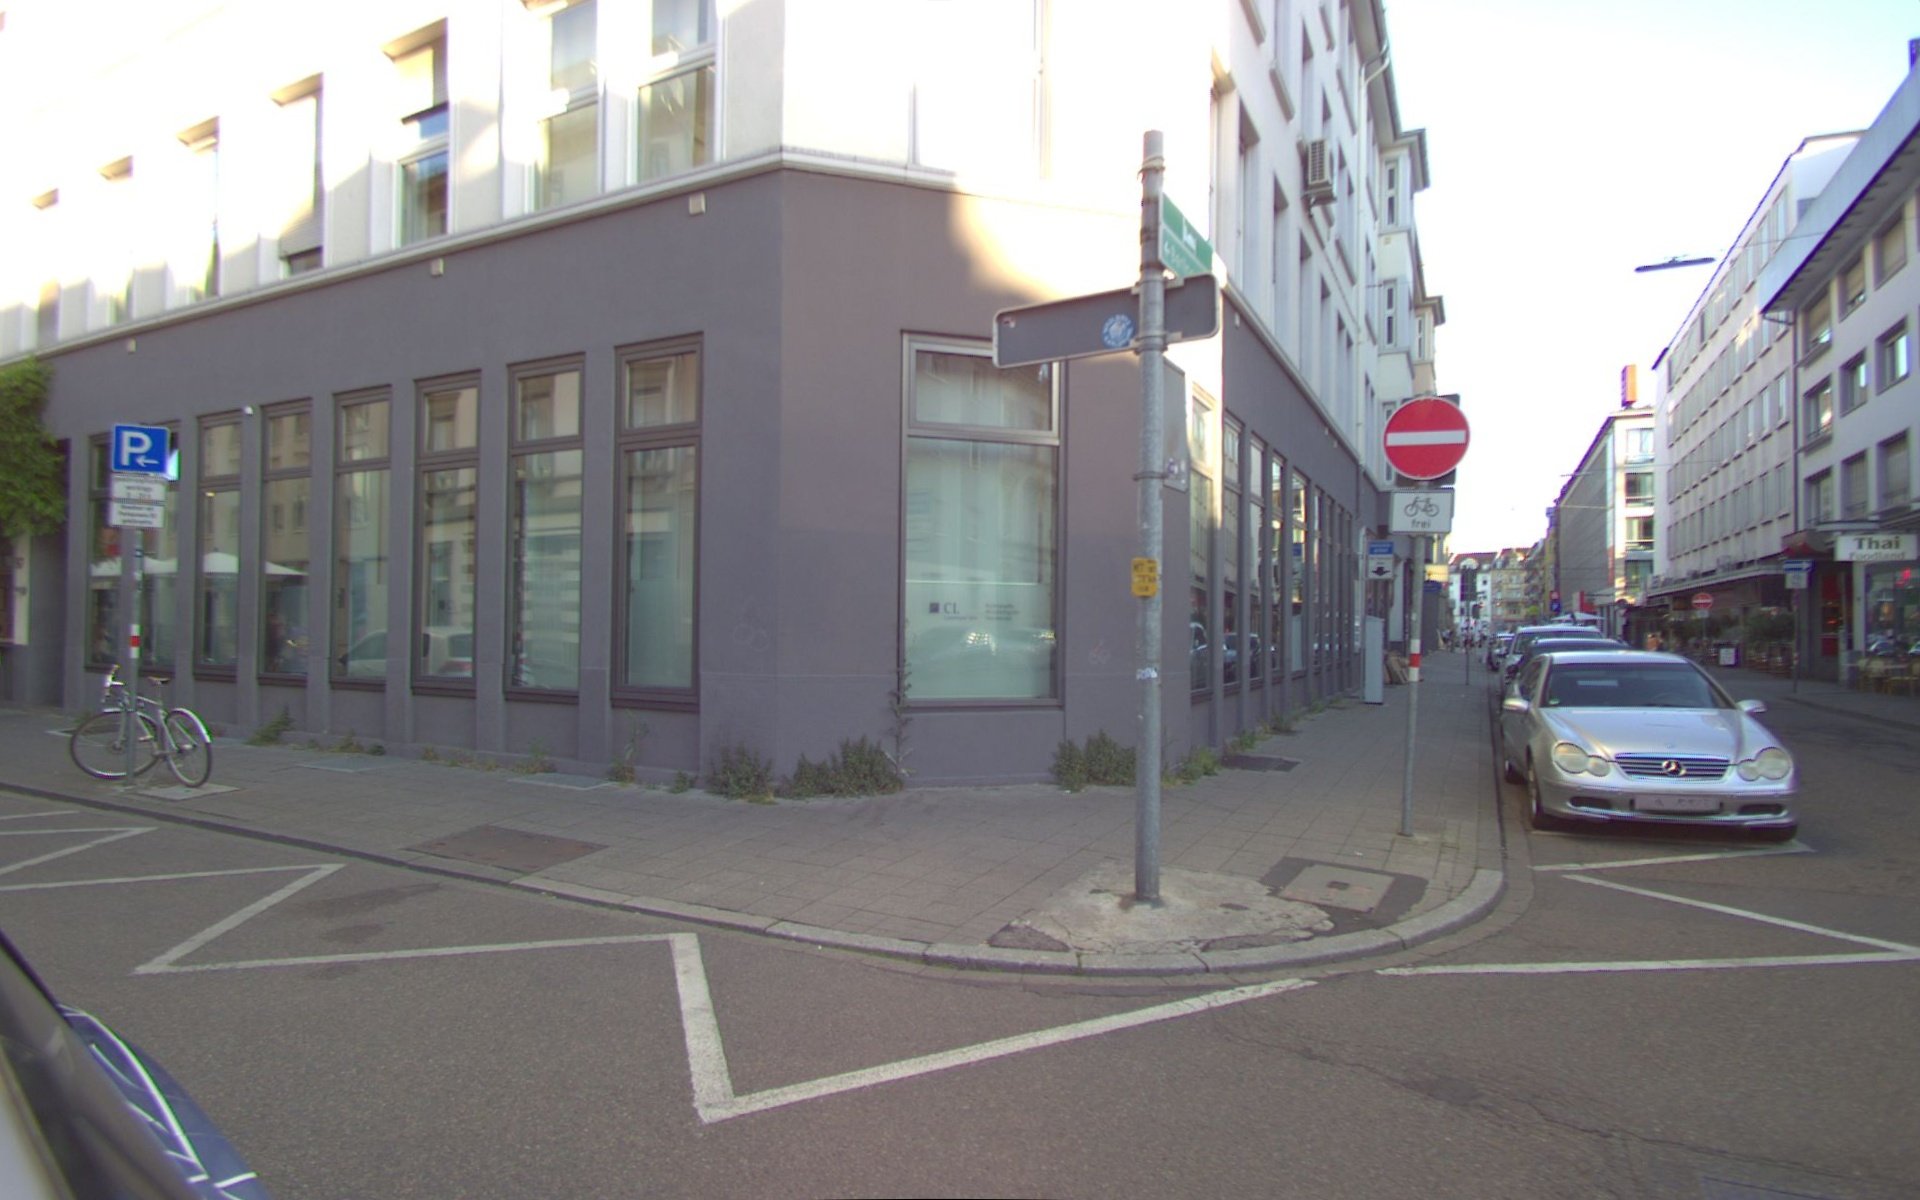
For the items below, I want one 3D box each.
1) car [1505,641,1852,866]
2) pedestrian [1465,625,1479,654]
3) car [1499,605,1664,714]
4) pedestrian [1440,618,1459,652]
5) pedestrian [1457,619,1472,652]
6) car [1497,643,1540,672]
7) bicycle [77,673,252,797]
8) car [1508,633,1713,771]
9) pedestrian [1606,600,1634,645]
[{"bbox_3d":[5.959,1.098,8.982,1.747,1.412,4.448,-2,-2,26],"label":"car"},{"bbox_3d":[32.089,2.461,63.439,0.707,1.775,0.879,0,-2,21],"label":"pedestrian"},{"bbox_3d":[11.343,1.022,18.822,2.326,1.757,4.444,0,-2,28],"label":"car"},{"bbox_3d":[31.189,2.228,64.491,1.025,2.191,0.879,0,-2,21],"label":"pedestrian"},{"bbox_3d":[32.343,2.284,64.876,0.722,2.107,0.799,0,-2,21],"label":"pedestrian"},{"bbox_3d":[23.176,2.373,42.065,1.508,1.067,3.433,0,-2,28],"label":"car"},{"bbox_3d":[-6.835,1.119,8.678,1.637,0.912,0.592,-1,-2,29],"label":"bicycle"},{"bbox_3d":[8.636,1.233,13.807,2.005,1.536,4.078,0,-2,28],"label":"car"},{"bbox_3d":[39.804,1.346,61.019,1.242,2.634,1.453,-1,-1,28],"label":"pedestrian"}]
